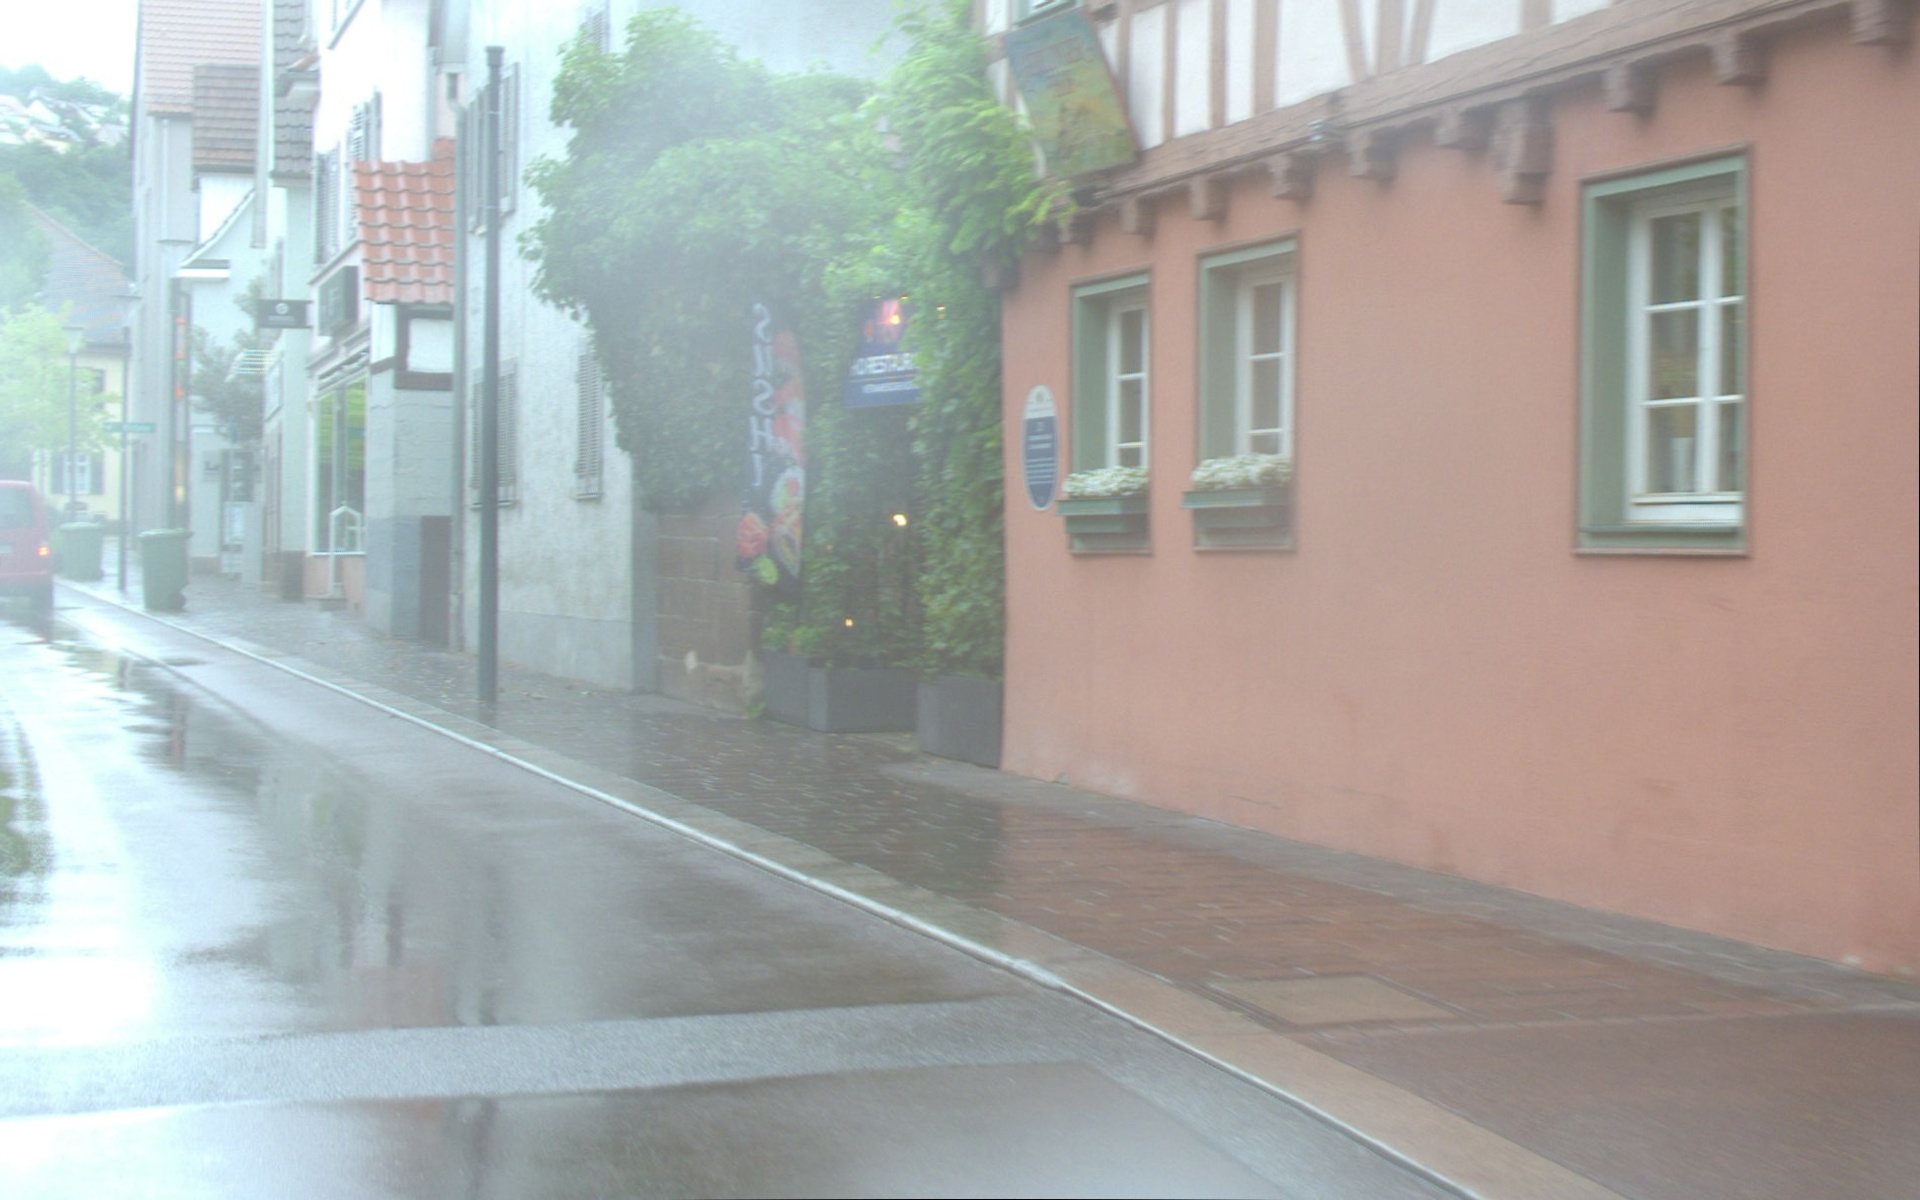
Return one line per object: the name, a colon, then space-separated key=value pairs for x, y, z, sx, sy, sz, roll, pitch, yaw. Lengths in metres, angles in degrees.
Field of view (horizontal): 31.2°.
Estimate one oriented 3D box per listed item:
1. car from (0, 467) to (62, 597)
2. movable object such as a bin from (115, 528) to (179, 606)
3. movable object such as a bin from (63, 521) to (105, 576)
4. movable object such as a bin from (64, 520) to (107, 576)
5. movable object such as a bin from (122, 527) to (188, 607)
car: x=-14.316 y=-1.049 z=50.207 sx=1.893 sy=1.805 sz=4.002 roll=2 pitch=1 yaw=-20
movable object such as a bin: x=-11.247 y=-0.455 z=47.577 sx=0.796 sy=1.077 sz=0.583 roll=0 pitch=0 yaw=-20
movable object such as a bin: x=-17.428 y=-1.021 z=68.378 sx=0.754 sy=1.060 sz=0.600 roll=2 pitch=-1 yaw=-16
movable object such as a bin: x=-17.240 y=-1.023 z=67.768 sx=0.768 sy=1.076 sz=0.599 roll=2 pitch=-1 yaw=-16
movable object such as a bin: x=-10.991 y=-0.443 z=46.930 sx=0.792 sy=1.077 sz=0.615 roll=0 pitch=0 yaw=-20
